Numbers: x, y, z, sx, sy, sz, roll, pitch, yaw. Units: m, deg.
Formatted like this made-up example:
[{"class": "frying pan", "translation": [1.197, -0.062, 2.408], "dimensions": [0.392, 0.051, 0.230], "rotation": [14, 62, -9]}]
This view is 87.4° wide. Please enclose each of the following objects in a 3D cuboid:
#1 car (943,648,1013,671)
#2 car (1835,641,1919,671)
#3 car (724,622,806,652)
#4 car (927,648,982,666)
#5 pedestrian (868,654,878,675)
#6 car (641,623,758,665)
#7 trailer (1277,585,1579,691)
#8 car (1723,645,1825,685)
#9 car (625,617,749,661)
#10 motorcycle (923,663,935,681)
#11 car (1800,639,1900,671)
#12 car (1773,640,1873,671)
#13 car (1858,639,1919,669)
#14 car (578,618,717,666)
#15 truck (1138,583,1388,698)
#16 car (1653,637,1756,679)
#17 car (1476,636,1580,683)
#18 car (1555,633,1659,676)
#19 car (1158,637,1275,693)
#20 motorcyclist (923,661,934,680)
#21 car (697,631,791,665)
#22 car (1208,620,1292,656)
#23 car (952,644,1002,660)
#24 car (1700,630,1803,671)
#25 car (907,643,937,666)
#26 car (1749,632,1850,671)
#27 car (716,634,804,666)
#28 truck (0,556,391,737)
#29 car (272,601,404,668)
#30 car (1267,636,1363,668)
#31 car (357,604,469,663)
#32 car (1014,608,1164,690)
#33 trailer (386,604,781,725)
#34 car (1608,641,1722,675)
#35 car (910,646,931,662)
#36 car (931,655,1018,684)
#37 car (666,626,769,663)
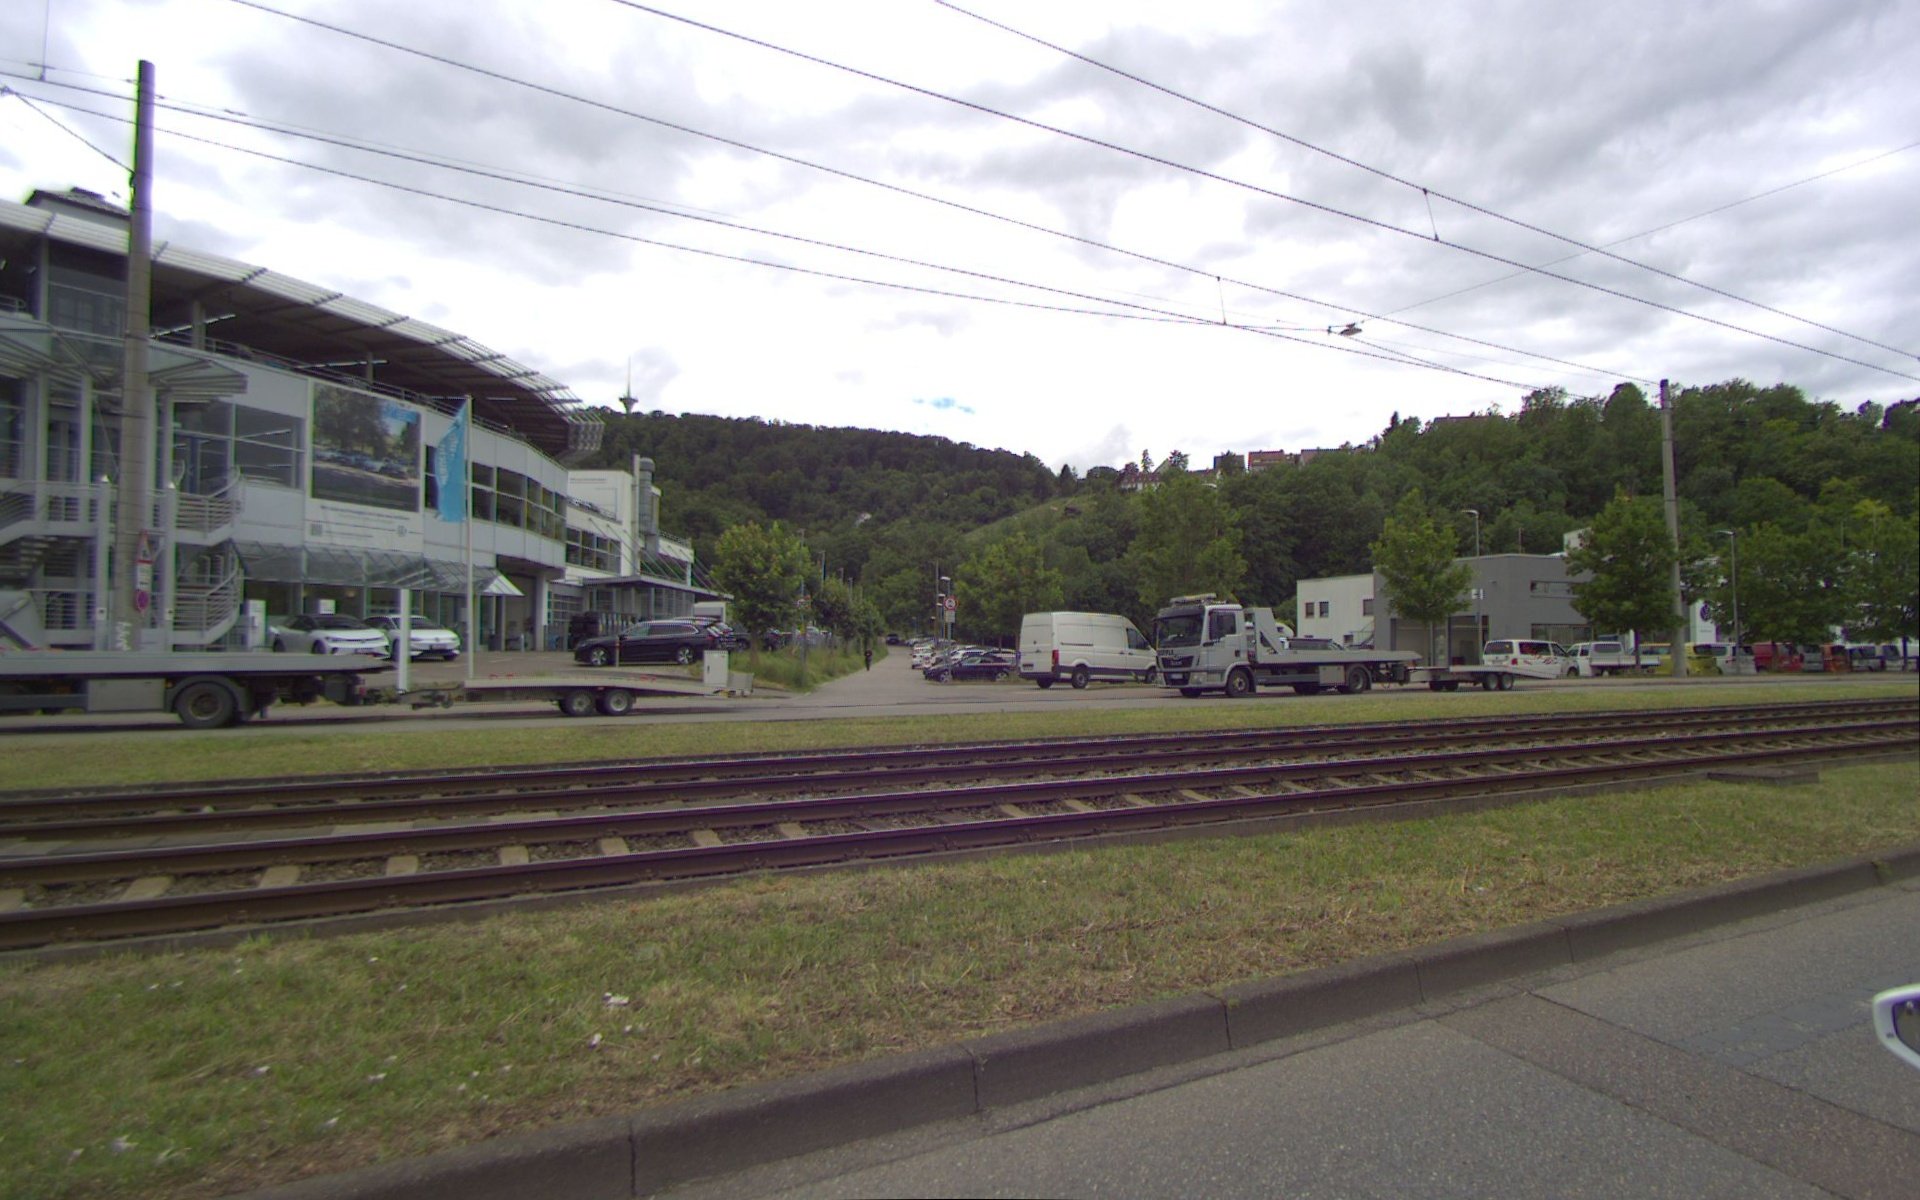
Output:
[{"class": "car", "translation": [1.007, 3.384, 57.366], "dimensions": [3.923, 1.283, 1.610], "rotation": [0, -2, -4]}, {"class": "car", "translation": [54.479, 3.287, 59.191], "dimensions": [1.806, 1.728, 3.982], "rotation": [1, -3, -21]}, {"class": "car", "translation": [-10.587, 2.029, 54.678], "dimensions": [4.193, 1.594, 1.871], "rotation": [0, -2, -5]}, {"class": "car", "translation": [-0.418, 4.154, 73.610], "dimensions": [3.923, 1.283, 1.610], "rotation": [0, -2, -4]}, {"class": "pedestrian", "translation": [-5.438, 4.043, 62.800], "dimensions": [0.394, 1.308, 0.440], "rotation": [4, -4, -23]}, {"class": "car", "translation": [-10.201, 1.743, 39.649], "dimensions": [4.193, 1.594, 1.871], "rotation": [0, -2, -5]}, {"class": "trailer", "translation": [15.230, 1.216, 32.356], "dimensions": [10.651, 3.021, 2.882], "rotation": [1, -2, -27]}, {"class": "car", "translation": [45.220, 3.584, 55.909], "dimensions": [1.973, 2.039, 3.977], "rotation": [5, -4, -24]}, {"class": "car", "translation": [-10.126, 1.444, 37.519], "dimensions": [4.193, 1.594, 1.871], "rotation": [0, -2, -5]}, {"class": "motorcycle", "translation": [-1.598, 3.696, 51.472], "dimensions": [0.582, 0.864, 1.936], "rotation": [0, -2, -3]}, {"class": "car", "translation": [51.793, 3.178, 58.531], "dimensions": [1.806, 1.728, 3.982], "rotation": [0, -2, -21]}, {"class": "car", "translation": [49.682, 3.170, 57.895], "dimensions": [1.806, 1.728, 3.982], "rotation": [1, -3, -20]}, {"class": "car", "translation": [56.748, 3.208, 60.212], "dimensions": [1.806, 1.728, 3.982], "rotation": [0, -2, -21]}, {"class": "car", "translation": [-10.596, 1.434, 34.332], "dimensions": [4.193, 1.594, 1.871], "rotation": [0, -2, -5]}, {"class": "truck", "translation": [8.793, 1.149, 29.095], "dimensions": [6.820, 3.029, 2.874], "rotation": [1, -2, -26]}, {"class": "car", "translation": [39.906, 3.089, 53.929], "dimensions": [1.973, 2.039, 3.977], "rotation": [5, -4, -24]}, {"class": "car", "translation": [26.412, 2.763, 46.686], "dimensions": [4.550, 1.922, 1.988], "rotation": [5, -4, -25]}, {"class": "car", "translation": [32.172, 2.734, 50.133], "dimensions": [1.962, 1.922, 4.609], "rotation": [3, -4, -5]}, {"class": "car", "translation": [10.031, 2.549, 39.221], "dimensions": [4.212, 1.900, 2.143], "rotation": [6, -4, -33]}, {"class": "motorcyclist", "translation": [-1.601, 3.591, 51.506], "dimensions": [0.549, 0.958, 0.659], "rotation": [0, -2, -4]}, {"class": "car", "translation": [-10.301, 2.290, 48.116], "dimensions": [4.193, 1.594, 1.871], "rotation": [0, -2, -5]}, {"class": "car", "translation": [18.138, 2.382, 62.978], "dimensions": [4.783, 2.220, 1.610], "rotation": [0, -2, -1]}, {"class": "car", "translation": [1.383, 4.235, 81.603], "dimensions": [3.923, 1.283, 1.610], "rotation": [0, -2, -4]}, {"class": "car", "translation": [43.002, 2.730, 54.673], "dimensions": [1.973, 2.039, 3.977], "rotation": [5, -4, -24]}, {"class": "car", "translation": [-2.653, 3.801, 70.230], "dimensions": [1.891, 1.549, 3.998], "rotation": [0, -2, -5]}, {"class": "car", "translation": [47.662, 2.906, 57.104], "dimensions": [1.973, 2.039, 3.977], "rotation": [5, -4, -24]}, {"class": "car", "translation": [-10.147, 2.537, 51.160], "dimensions": [4.193, 1.594, 1.871], "rotation": [0, -2, -5]}, {"class": "truck", "translation": [-14.287, 0.790, 17.004], "dimensions": [7.923, 2.775, 2.276], "rotation": [2, -3, -28]}, {"class": "car", "translation": [-19.331, 1.066, 31.192], "dimensions": [3.935, 1.794, 1.995], "rotation": [1, -6, 36]}, {"class": "car", "translation": [19.895, 2.916, 56.418], "dimensions": [4.783, 1.788, 1.610], "rotation": [0, -2, -1]}, {"class": "car", "translation": [-18.702, 1.132, 34.294], "dimensions": [3.940, 1.794, 1.991], "rotation": [0, -5, 40]}, {"class": "car", "translation": [4.591, 1.682, 35.300], "dimensions": [5.387, 2.680, 1.988], "rotation": [2, -2, -36]}, {"class": "trailer", "translation": [-7.514, 1.265, 20.566], "dimensions": [7.225, 2.155, 2.284], "rotation": [1, -5, -28]}, {"class": "car", "translation": [37.071, 3.029, 52.923], "dimensions": [1.974, 1.595, 4.582], "rotation": [5, -4, -25]}, {"class": "car", "translation": [-4.009, 5.391, 100.755], "dimensions": [1.891, 1.549, 3.998], "rotation": [0, -2, -5]}, {"class": "car", "translation": [0.637, 3.219, 46.393], "dimensions": [3.923, 1.283, 1.610], "rotation": [0, -2, -4]}, {"class": "car", "translation": [-10.700, 1.984, 44.639], "dimensions": [4.193, 1.594, 1.871], "rotation": [0, -2, -5]}]
